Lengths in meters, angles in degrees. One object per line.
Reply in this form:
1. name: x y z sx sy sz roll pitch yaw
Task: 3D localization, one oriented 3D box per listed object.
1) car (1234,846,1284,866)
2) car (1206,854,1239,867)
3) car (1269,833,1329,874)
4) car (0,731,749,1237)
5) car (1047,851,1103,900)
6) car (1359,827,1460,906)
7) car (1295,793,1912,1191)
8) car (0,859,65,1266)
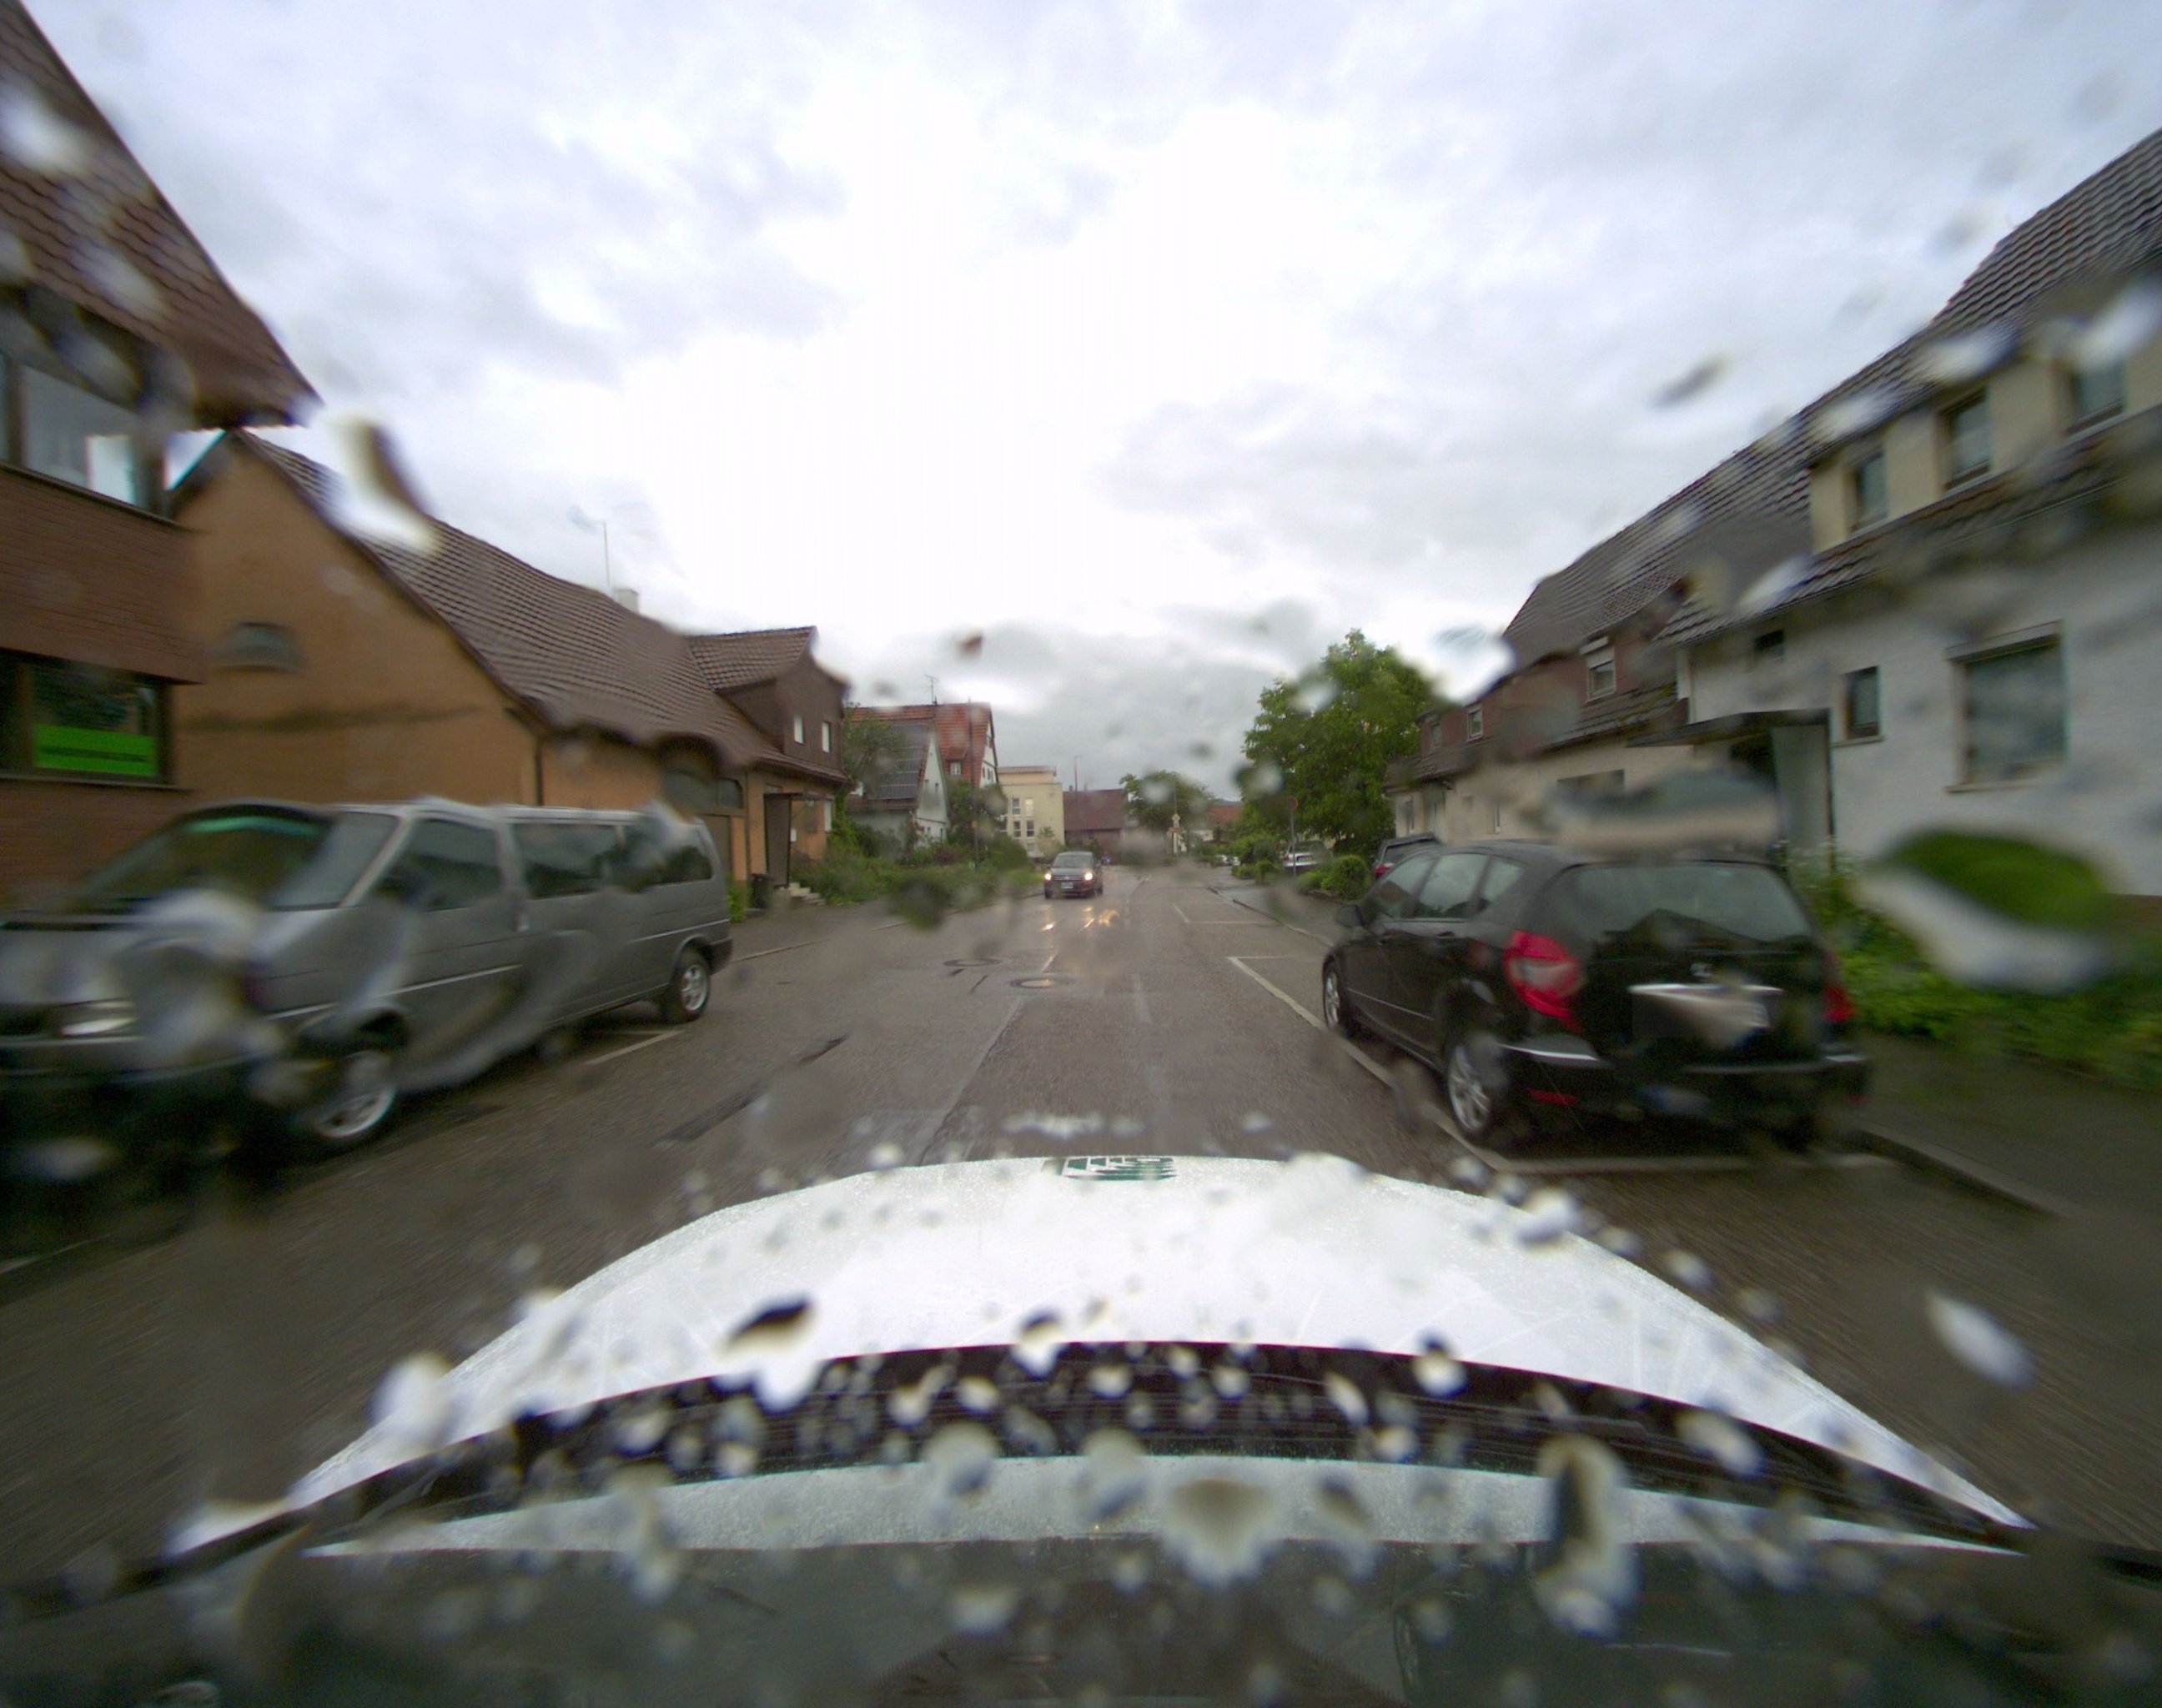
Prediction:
1. car: 15.075 0.169 68.935 3.923 1.408 2.009 -3 -1 17
2. car: 18.450 0.856 106.284 3.954 1.626 2.010 -2 0 19
3. car: 8.514 -0.016 32.070 1.630 1.430 3.683 -2 0 6
4. car: -4.536 0.549 5.899 1.814 2.013 5.218 -2 0 3
5. car: -0.147 0.725 29.865 1.791 1.640 4.003 -1 0 3
6. car: 7.485 0.207 18.533 1.743 1.393 4.023 -8 -1 23
7. car: 2.851 0.618 5.634 1.743 1.710 4.001 -2 0 2
8. car: -4.761 0.792 1.382 1.574 1.497 3.565 -2 0 -1
